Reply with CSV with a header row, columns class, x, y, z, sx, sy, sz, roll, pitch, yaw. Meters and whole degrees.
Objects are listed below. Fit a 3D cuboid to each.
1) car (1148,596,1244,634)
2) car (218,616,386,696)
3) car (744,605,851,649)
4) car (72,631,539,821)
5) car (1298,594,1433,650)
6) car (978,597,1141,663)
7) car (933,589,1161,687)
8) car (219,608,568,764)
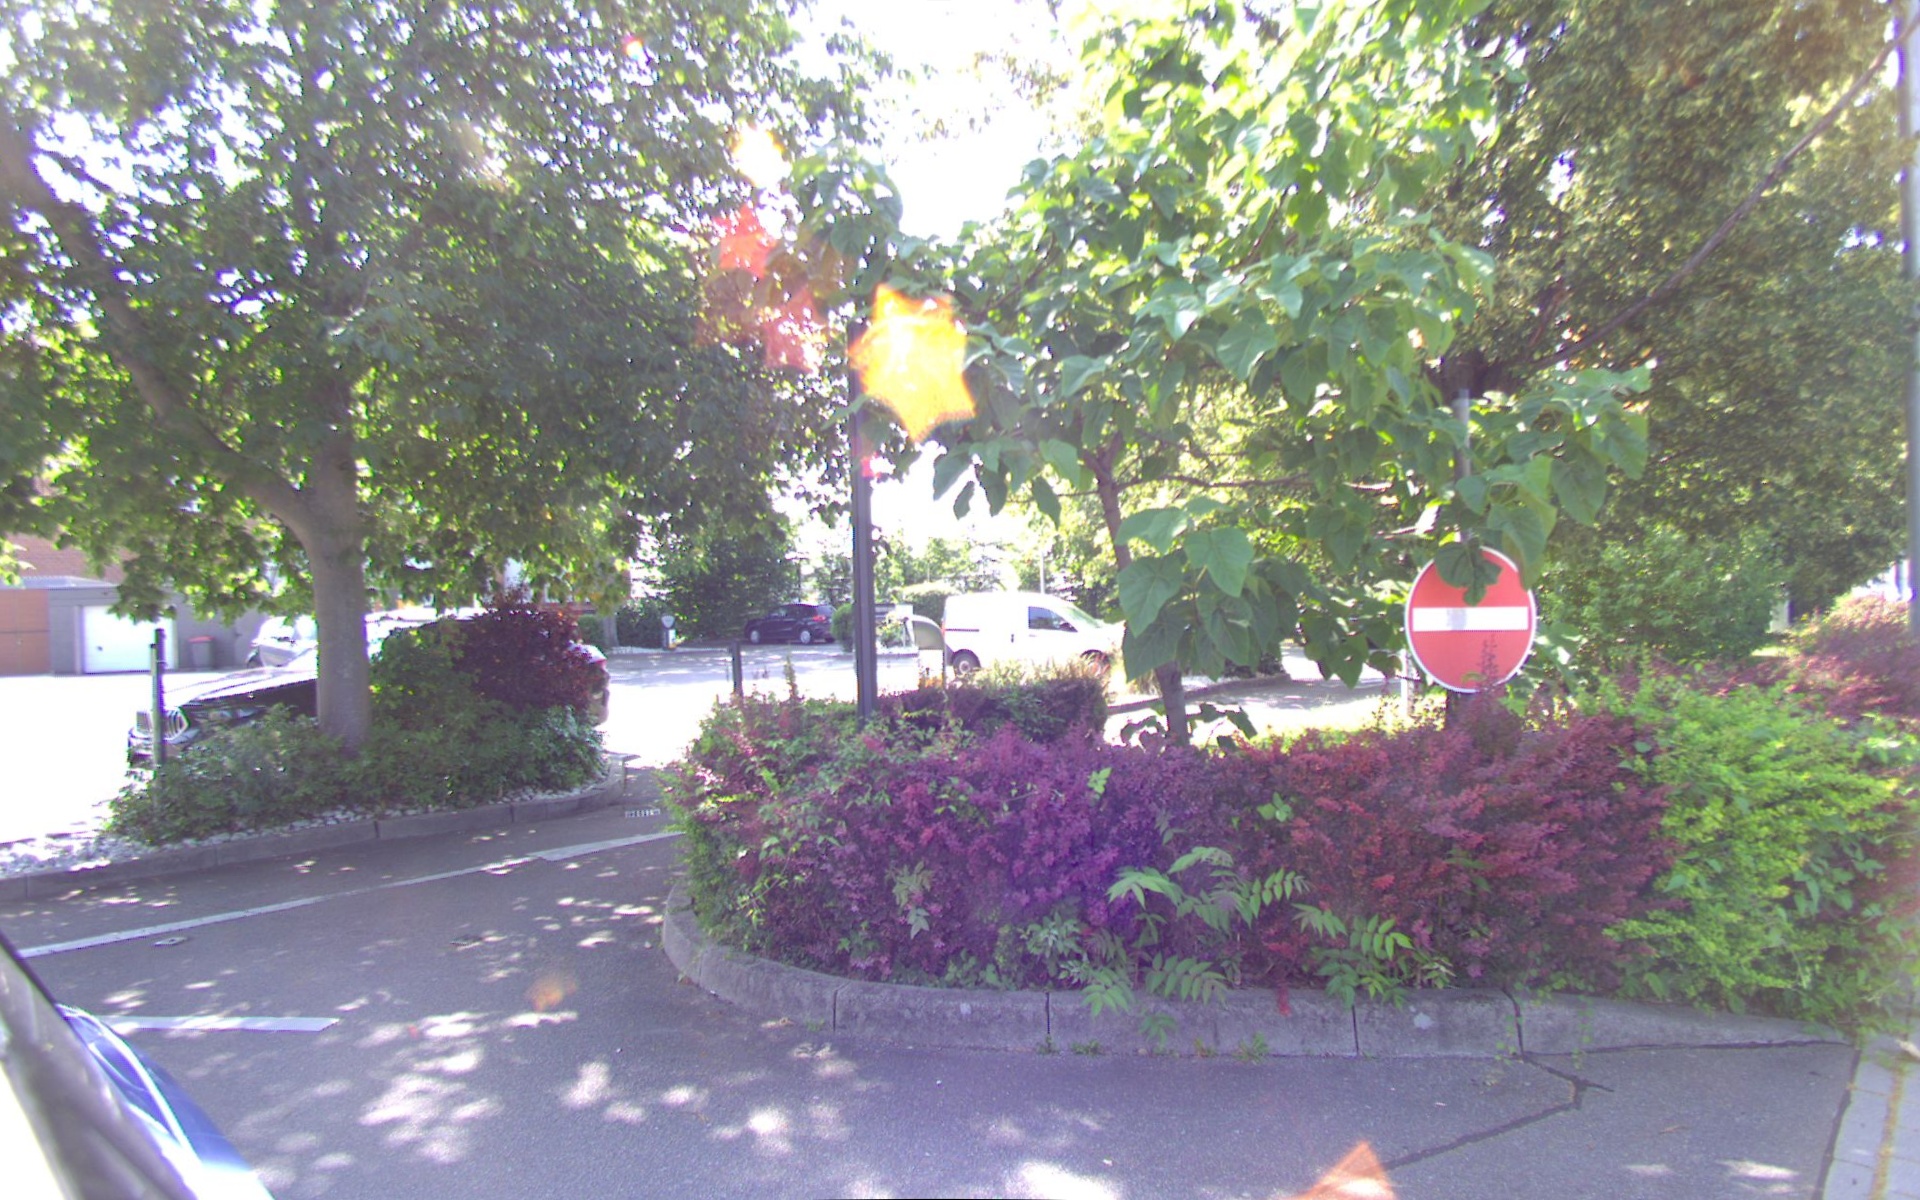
class,x,y,z,sx,sy,sz,roll,pitch,yaw
car,10.423,0.647,44.769,3.833,1.600,1.627,-1,0,29
car,-14.029,1.123,21.548,3.600,1.543,1.604,-1,0,31
car,-6.331,1.021,39.278,3.856,1.588,1.800,-1,0,31
car,-6.604,1.145,10.761,1.644,1.505,3.971,-1,-1,21
car,12.322,0.628,30.578,2.075,1.572,4.958,-2,-1,44
car,2.583,0.743,26.225,3.792,1.595,1.888,-1,0,27
car,1.783,0.762,20.895,4.329,1.841,1.734,-2,0,25
car,-7.764,1.055,14.368,1.747,1.812,4.198,-1,0,21
